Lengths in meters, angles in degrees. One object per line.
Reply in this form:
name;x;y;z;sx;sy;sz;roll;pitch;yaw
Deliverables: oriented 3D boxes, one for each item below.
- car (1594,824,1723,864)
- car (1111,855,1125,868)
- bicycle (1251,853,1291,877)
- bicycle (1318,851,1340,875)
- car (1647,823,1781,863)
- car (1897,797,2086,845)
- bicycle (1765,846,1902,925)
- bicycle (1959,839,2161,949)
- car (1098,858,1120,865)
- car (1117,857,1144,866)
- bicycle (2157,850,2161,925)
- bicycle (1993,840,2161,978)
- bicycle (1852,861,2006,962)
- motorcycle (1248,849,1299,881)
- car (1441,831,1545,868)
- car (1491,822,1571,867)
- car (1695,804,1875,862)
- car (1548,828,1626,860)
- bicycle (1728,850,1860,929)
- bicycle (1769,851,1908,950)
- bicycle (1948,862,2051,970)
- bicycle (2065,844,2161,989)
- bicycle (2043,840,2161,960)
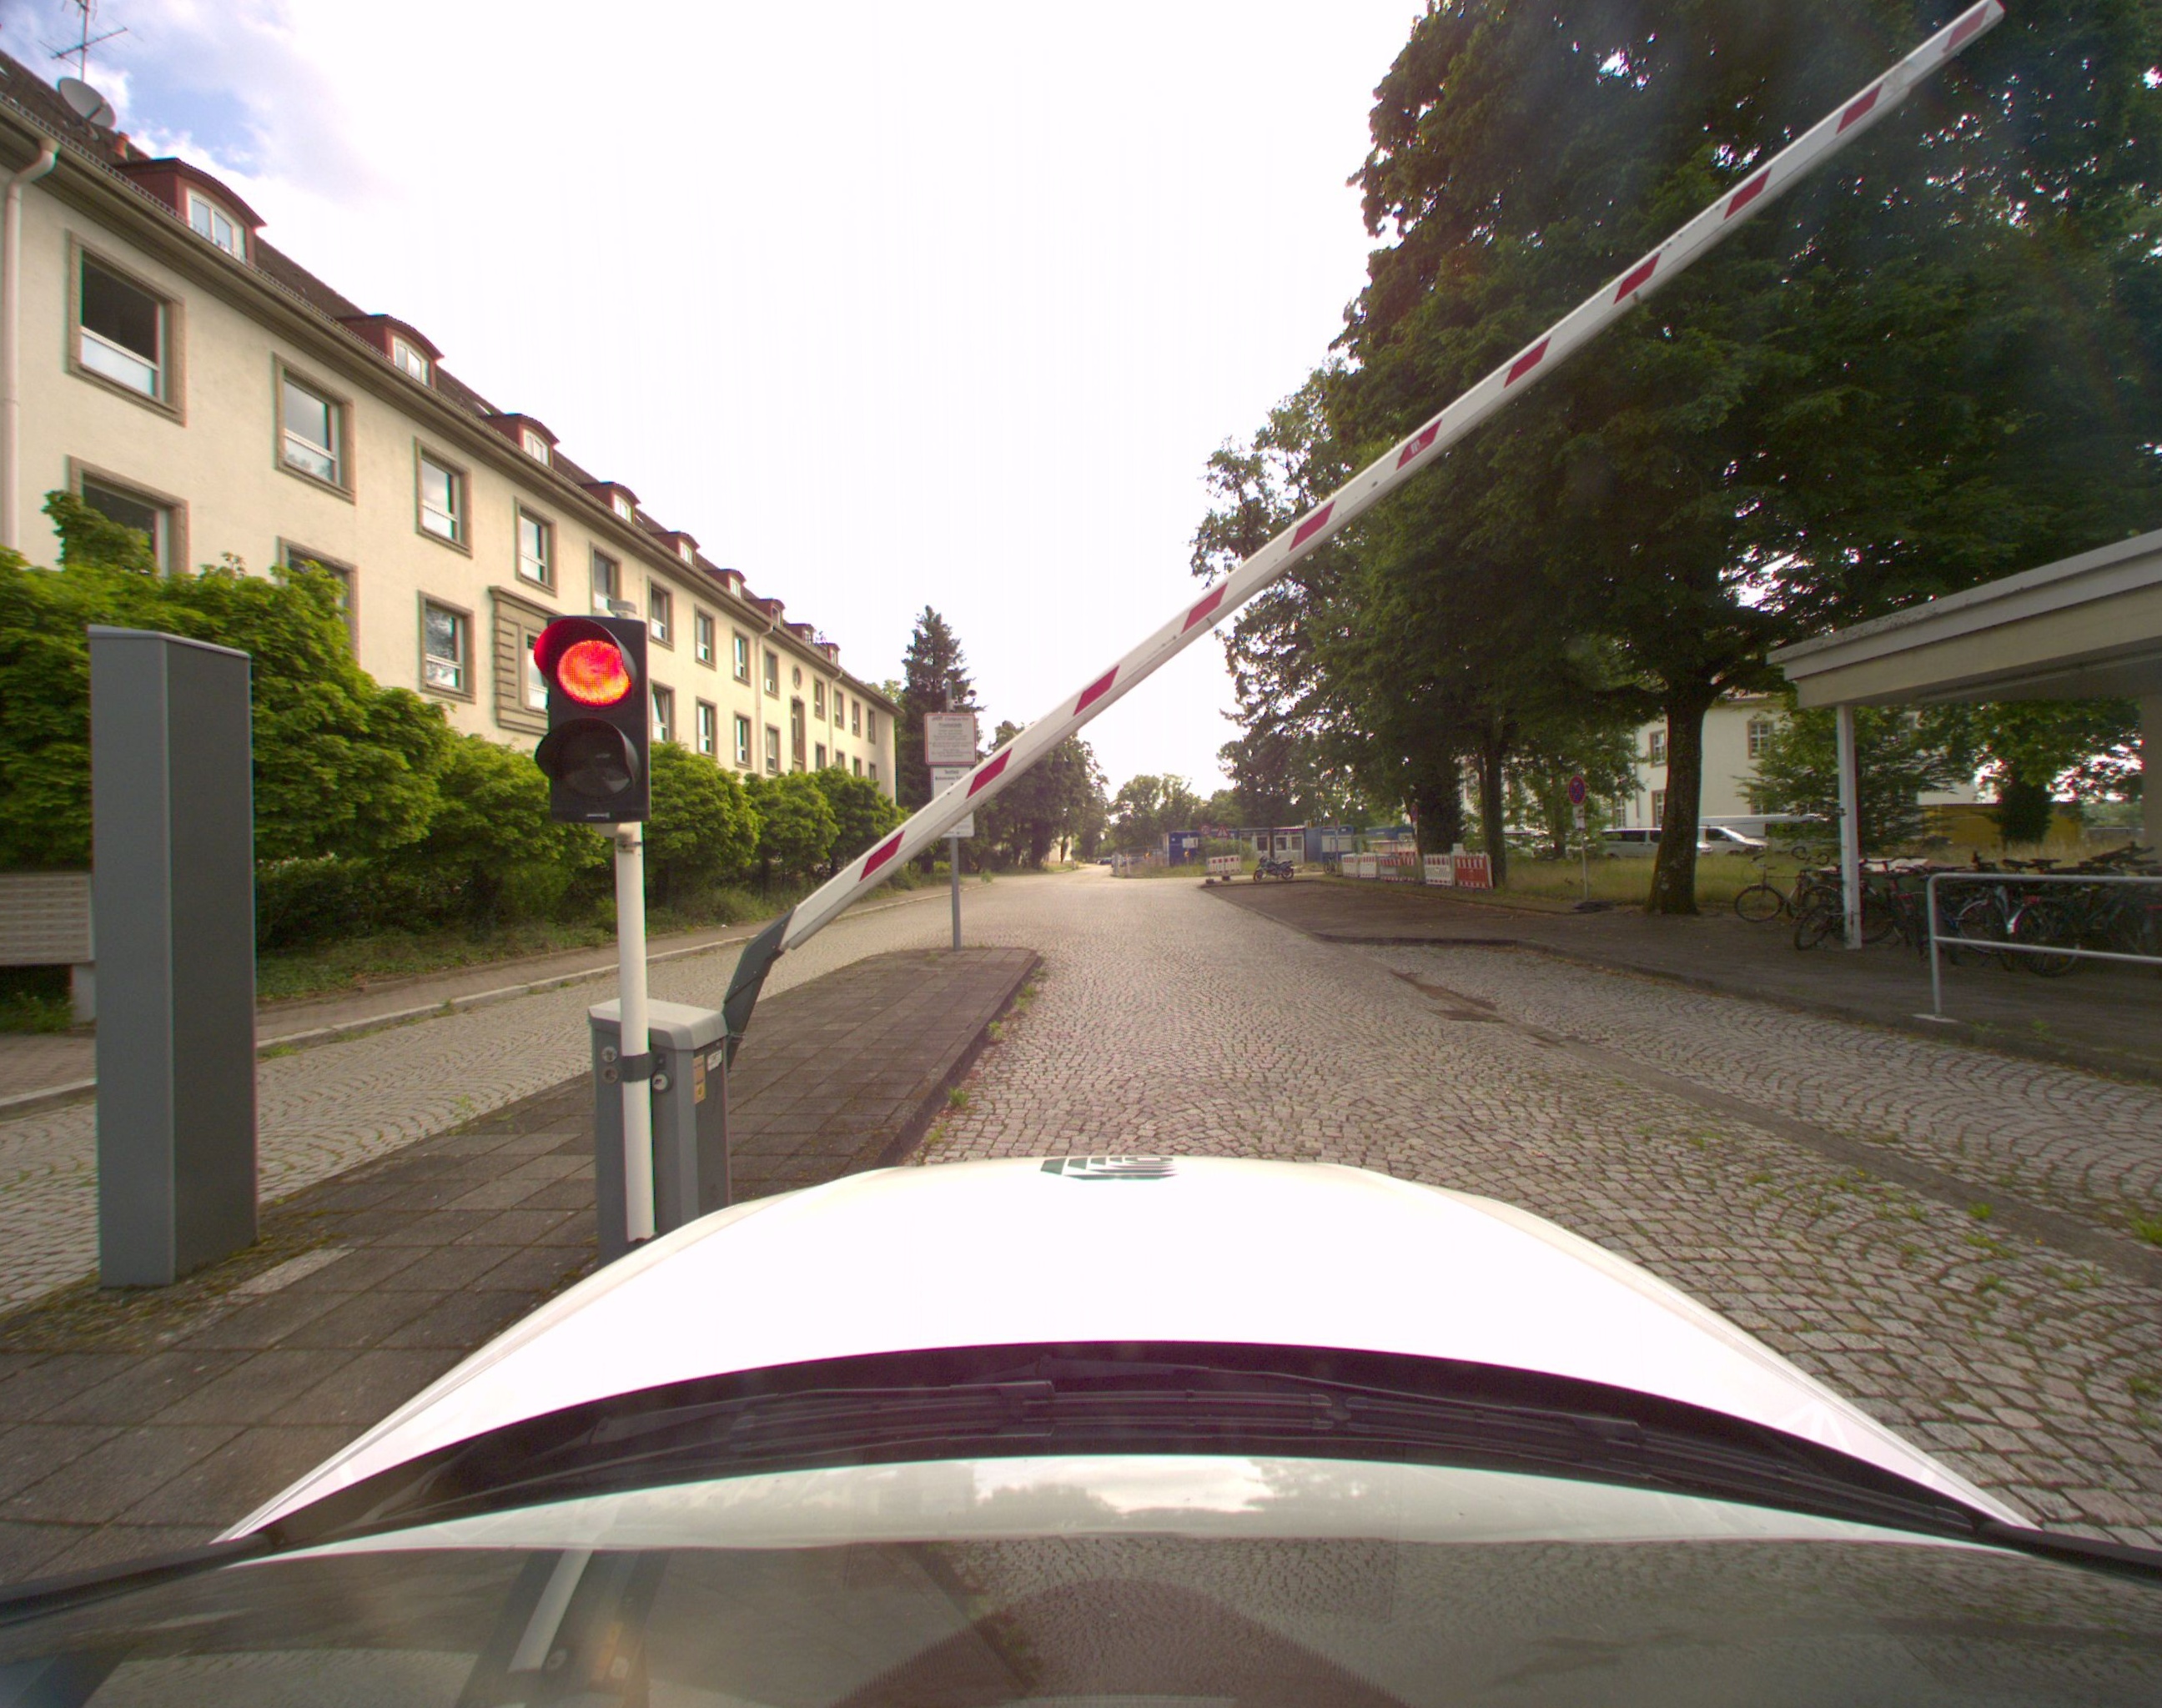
car;28.259;-0.452;40.075;2.003;1.825;4.834;0;-1;-25
car;5.932;1.207;131.457;1.987;2.014;4.091;-1;-1;1
bicycle;9.933;0.581;42.573;1.882;1.197;0.659;-2;0;21
bicycle;12.652;0.455;41.532;0.639;1.169;1.907;-2;0;4
car;31.092;-0.485;40.174;2.003;1.825;4.834;0;-1;-25
car;42.114;-1.493;37.807;6.116;2.095;2.214;0;-1;3
bicycle;11.712;0.461;12.755;0.595;1.117;1.635;-3;0;1
bicycle;11.699;0.463;9.747;1.736;1.165;0.608;-3;0;-3
car;6.174;1.668;181.283;4.770;1.641;1.997;-1;-1;-4
car;8.363;1.225;136.787;4.375;1.510;2.005;-1;-1;10
bicycle;9.878;0.515;6.765;1.630;1.190;0.418;-3;0;-11
bicycle;9.825;0.506;7.932;1.631;1.190;0.471;-3;0;-12
bicycle;9.751;0.620;9.355;1.751;0.976;0.752;-3;0;-28
motorcycle;9.470;0.544;40.097;2.271;1.485;0.756;-2;0;-3
car;23.114;-0.263;45.829;4.838;1.920;1.908;-2;1;3
car;27.506;-0.524;50.038;1.984;2.556;5.916;0;-1;4
car;34.333;-0.934;40.020;2.005;2.578;6.365;0;-1;-27
car;30.714;-0.547;49.601;1.985;1.825;4.880;0;-1;4
bicycle;11.087;0.518;12.740;0.595;1.117;1.635;-3;0;1
bicycle;9.528;0.567;10.239;1.677;1.108;0.337;-3;0;-12
bicycle;9.661;0.619;8.550;1.639;0.976;0.319;-3;0;-29
bicycle;9.850;0.520;7.378;1.630;1.190;0.418;-3;0;-11
bicycle;11.526;0.456;8.722;1.736;1.165;0.608;-3;0;-3
